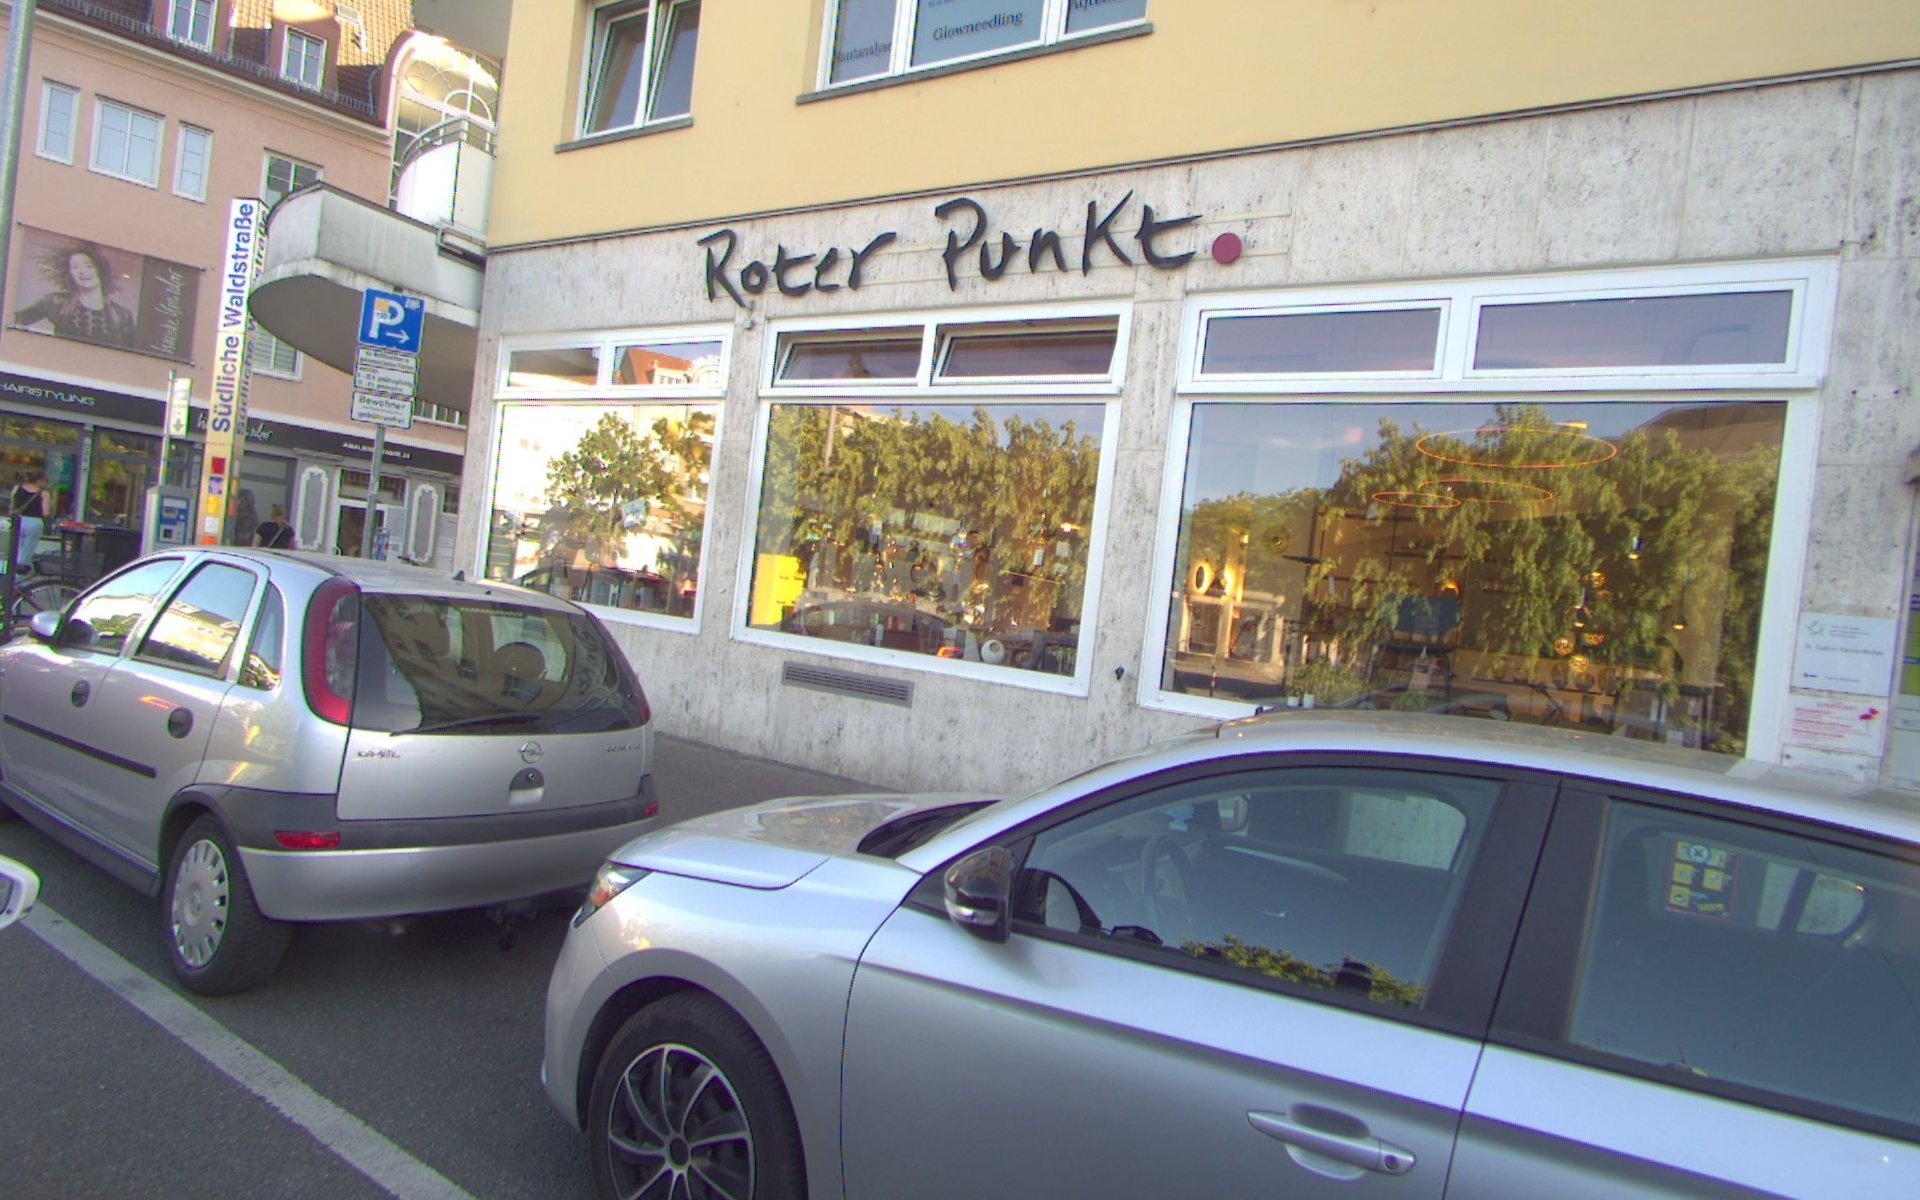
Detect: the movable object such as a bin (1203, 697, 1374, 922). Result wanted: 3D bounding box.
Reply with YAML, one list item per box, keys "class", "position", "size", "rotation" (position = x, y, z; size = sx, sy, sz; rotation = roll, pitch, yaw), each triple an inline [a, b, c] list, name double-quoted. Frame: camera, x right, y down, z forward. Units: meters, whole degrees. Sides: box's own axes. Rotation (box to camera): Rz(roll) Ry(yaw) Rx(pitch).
- class: "movable object such as a bin"
  position: [1.805, 1.093, 5.486]
  size: [0.639, 1.035, 0.738]
  rotation: [6, -1, 31]

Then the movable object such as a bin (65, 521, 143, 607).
- class: "movable object such as a bin"
  position: [-11.966, -0.500, 14.067]
  size: [0.716, 1.117, 0.636]
  rotation: [7, 2, 35]

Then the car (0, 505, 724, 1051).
- class: "car"
  position: [-2.966, 0.481, 4.464]
  size: [3.520, 1.442, 1.587]
  rotation: [6, -2, 32]

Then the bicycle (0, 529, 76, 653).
- class: "bicycle"
  position: [-9.066, -0.153, 8.800]
  size: [0.642, 1.072, 1.816]
  rotation: [7, -1, 33]

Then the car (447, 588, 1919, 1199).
- class: "car"
  position: [0.770, 0.941, 2.284]
  size: [3.624, 1.453, 1.587]
  rotation: [6, -2, 30]

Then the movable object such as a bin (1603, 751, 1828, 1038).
- class: "movable object such as a bin"
  position: [3.363, 1.263, 4.549]
  size: [0.639, 1.035, 0.738]
  rotation: [6, -1, 31]

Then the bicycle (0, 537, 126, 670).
- class: "bicycle"
  position: [-8.175, 0.001, 8.256]
  size: [0.642, 1.057, 1.884]
  rotation: [7, 0, 33]

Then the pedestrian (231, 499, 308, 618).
- class: "pedestrian"
  position: [-10.845, -0.647, 15.798]
  size: [0.776, 1.777, 0.720]
  rotation: [6, 2, 38]

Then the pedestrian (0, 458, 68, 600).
- class: "pedestrian"
  position: [-13.018, -0.985, 13.978]
  size: [0.879, 1.875, 0.680]
  rotation: [6, 3, 33]
